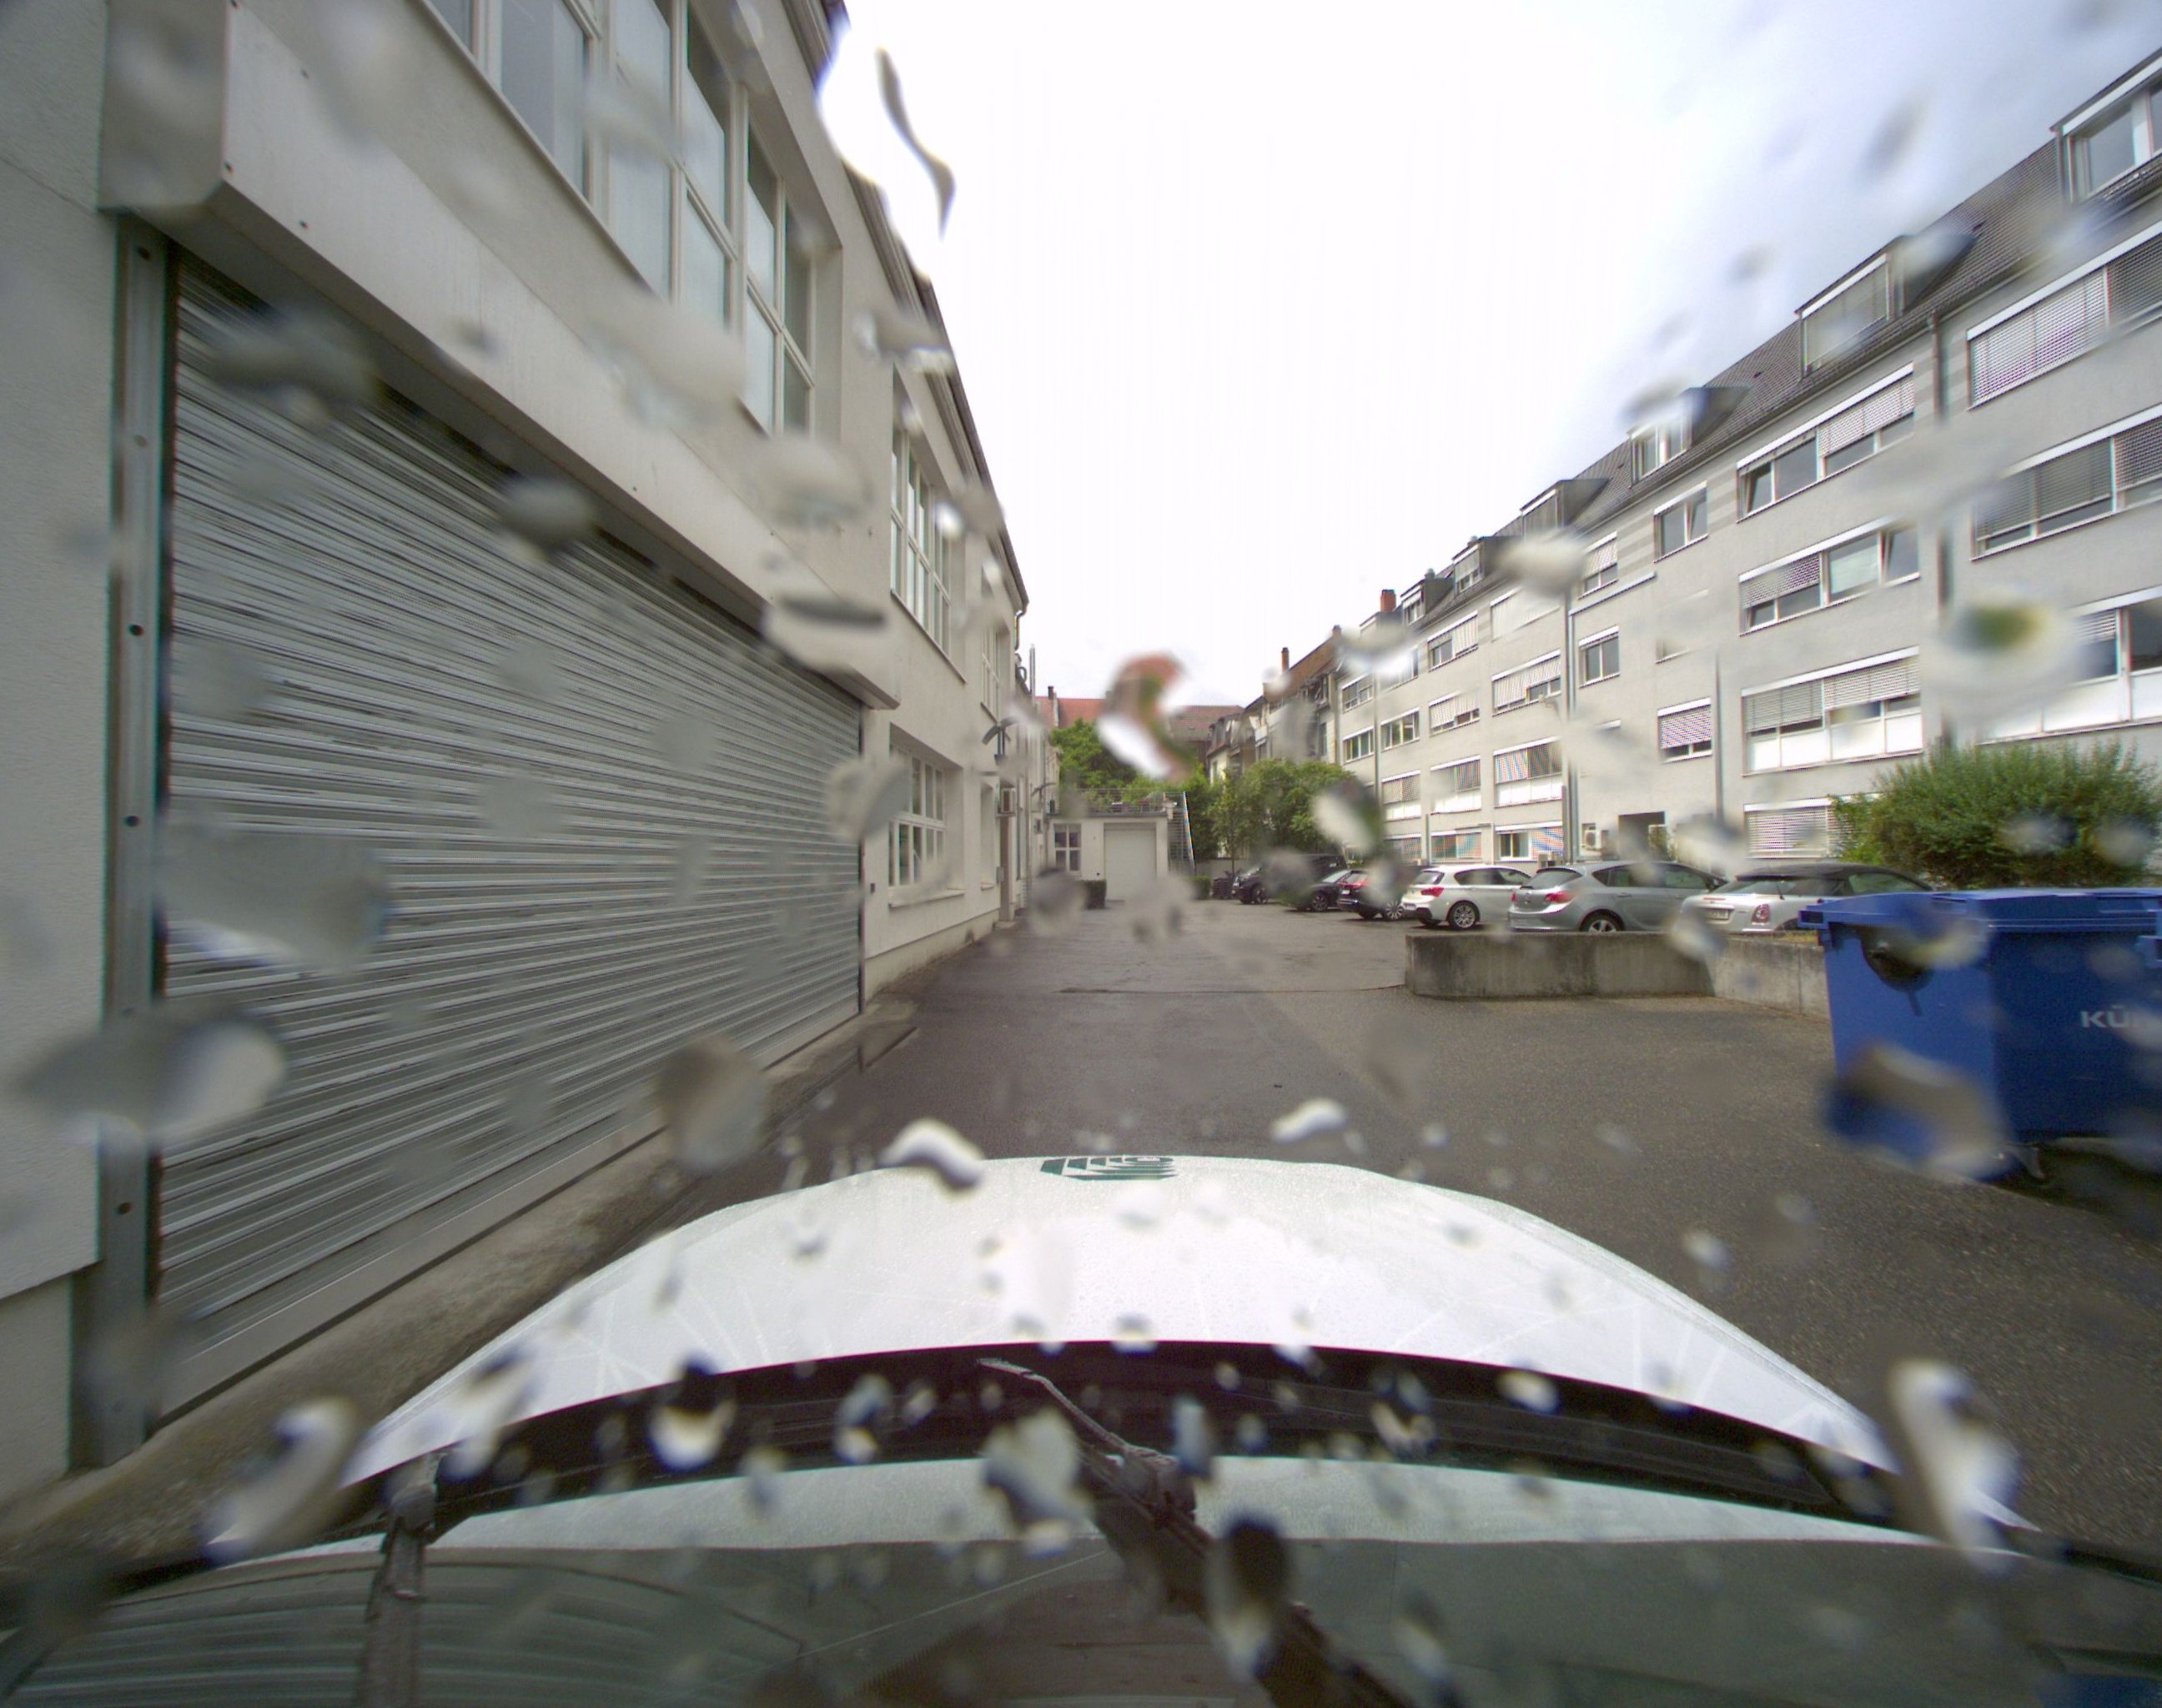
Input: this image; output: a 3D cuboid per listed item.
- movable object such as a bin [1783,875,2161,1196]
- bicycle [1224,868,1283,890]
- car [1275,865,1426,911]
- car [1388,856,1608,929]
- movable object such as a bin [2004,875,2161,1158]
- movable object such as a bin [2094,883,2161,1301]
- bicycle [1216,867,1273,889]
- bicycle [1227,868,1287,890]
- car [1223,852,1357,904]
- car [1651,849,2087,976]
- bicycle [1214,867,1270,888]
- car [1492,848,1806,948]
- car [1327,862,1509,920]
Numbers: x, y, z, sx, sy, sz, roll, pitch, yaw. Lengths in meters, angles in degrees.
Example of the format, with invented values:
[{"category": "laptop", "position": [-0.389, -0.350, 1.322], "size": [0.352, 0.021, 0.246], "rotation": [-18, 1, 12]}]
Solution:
[{"category": "movable object such as a bin", "position": [4.525, 0.789, 4.006], "size": [1.225, 1.317, 1.056], "rotation": [-1, 0, 1]}, {"category": "bicycle", "position": [8.853, 1.262, 41.845], "size": [2.835, 1.078, 0.689], "rotation": [1, 0, -2]}, {"category": "car", "position": [8.786, 1.084, 26.783], "size": [4.347, 1.348, 1.857], "rotation": [-1, 0, -5]}, {"category": "car", "position": [9.401, 0.835, 18.588], "size": [4.088, 1.455, 1.831], "rotation": [-2, -1, -3]}, {"category": "movable object such as a bin", "position": [5.785, 0.785, 4.030], "size": [1.225, 1.317, 1.056], "rotation": [-1, 0, 1]}, {"category": "movable object such as a bin", "position": [4.010, 0.768, 2.226], "size": [1.170, 1.317, 1.056], "rotation": [1, 0, 1]}, {"category": "bicycle", "position": [8.557, 1.255, 42.560], "size": [2.835, 1.078, 0.689], "rotation": [1, 0, -2]}, {"category": "bicycle", "position": [8.869, 1.266, 41.066], "size": [2.915, 1.078, 0.689], "rotation": [1, 0, -2]}, {"category": "car", "position": [8.301, 0.931, 32.613], "size": [4.702, 1.833, 2.107], "rotation": [-2, -1, -5]}, {"category": "car", "position": [10.170, 0.727, 10.764], "size": [3.973, 1.354, 1.791], "rotation": [-3, -1, 1]}, {"category": "bicycle", "position": [8.552, 1.252, 43.274], "size": [2.835, 1.078, 0.689], "rotation": [1, 0, -2]}, {"category": "car", "position": [9.279, 0.705, 13.520], "size": [4.069, 1.458, 1.666], "rotation": [-1, -2, -3]}, {"category": "car", "position": [9.083, 0.980, 22.157], "size": [4.163, 1.401, 1.936], "rotation": [-2, -1, -5]}]
